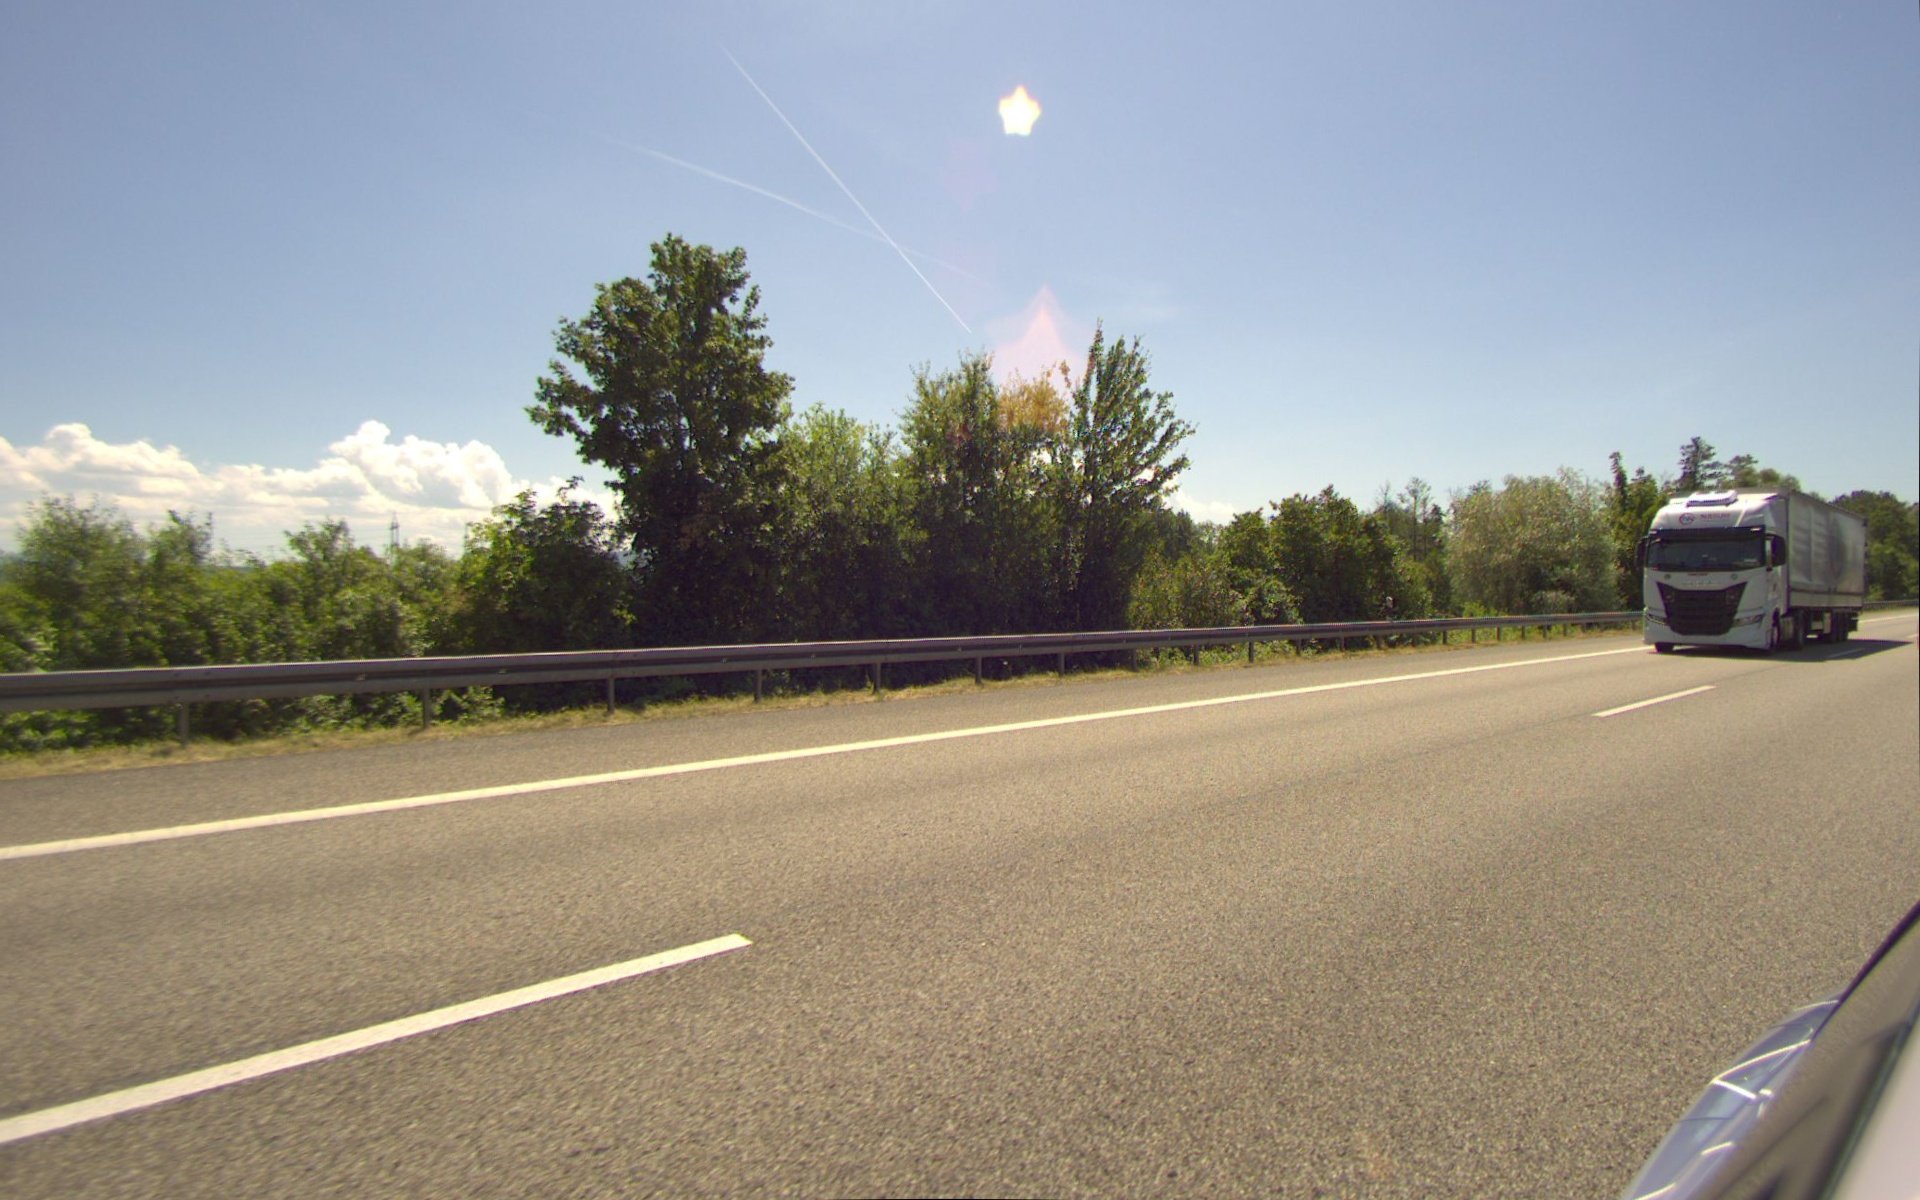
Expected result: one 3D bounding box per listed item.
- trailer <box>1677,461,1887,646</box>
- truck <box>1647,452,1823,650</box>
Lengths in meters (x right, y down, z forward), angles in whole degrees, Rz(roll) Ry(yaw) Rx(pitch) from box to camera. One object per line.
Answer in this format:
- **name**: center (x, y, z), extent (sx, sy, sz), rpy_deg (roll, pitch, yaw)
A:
- **trailer**: center (25.013, -1.217, 30.330), extent (13.913, 4.528, 2.540), rpy_deg (-1, 1, -41)
- **truck**: center (19.876, -1.150, 25.867), extent (5.475, 4.528, 2.540), rpy_deg (-1, 0, -41)
